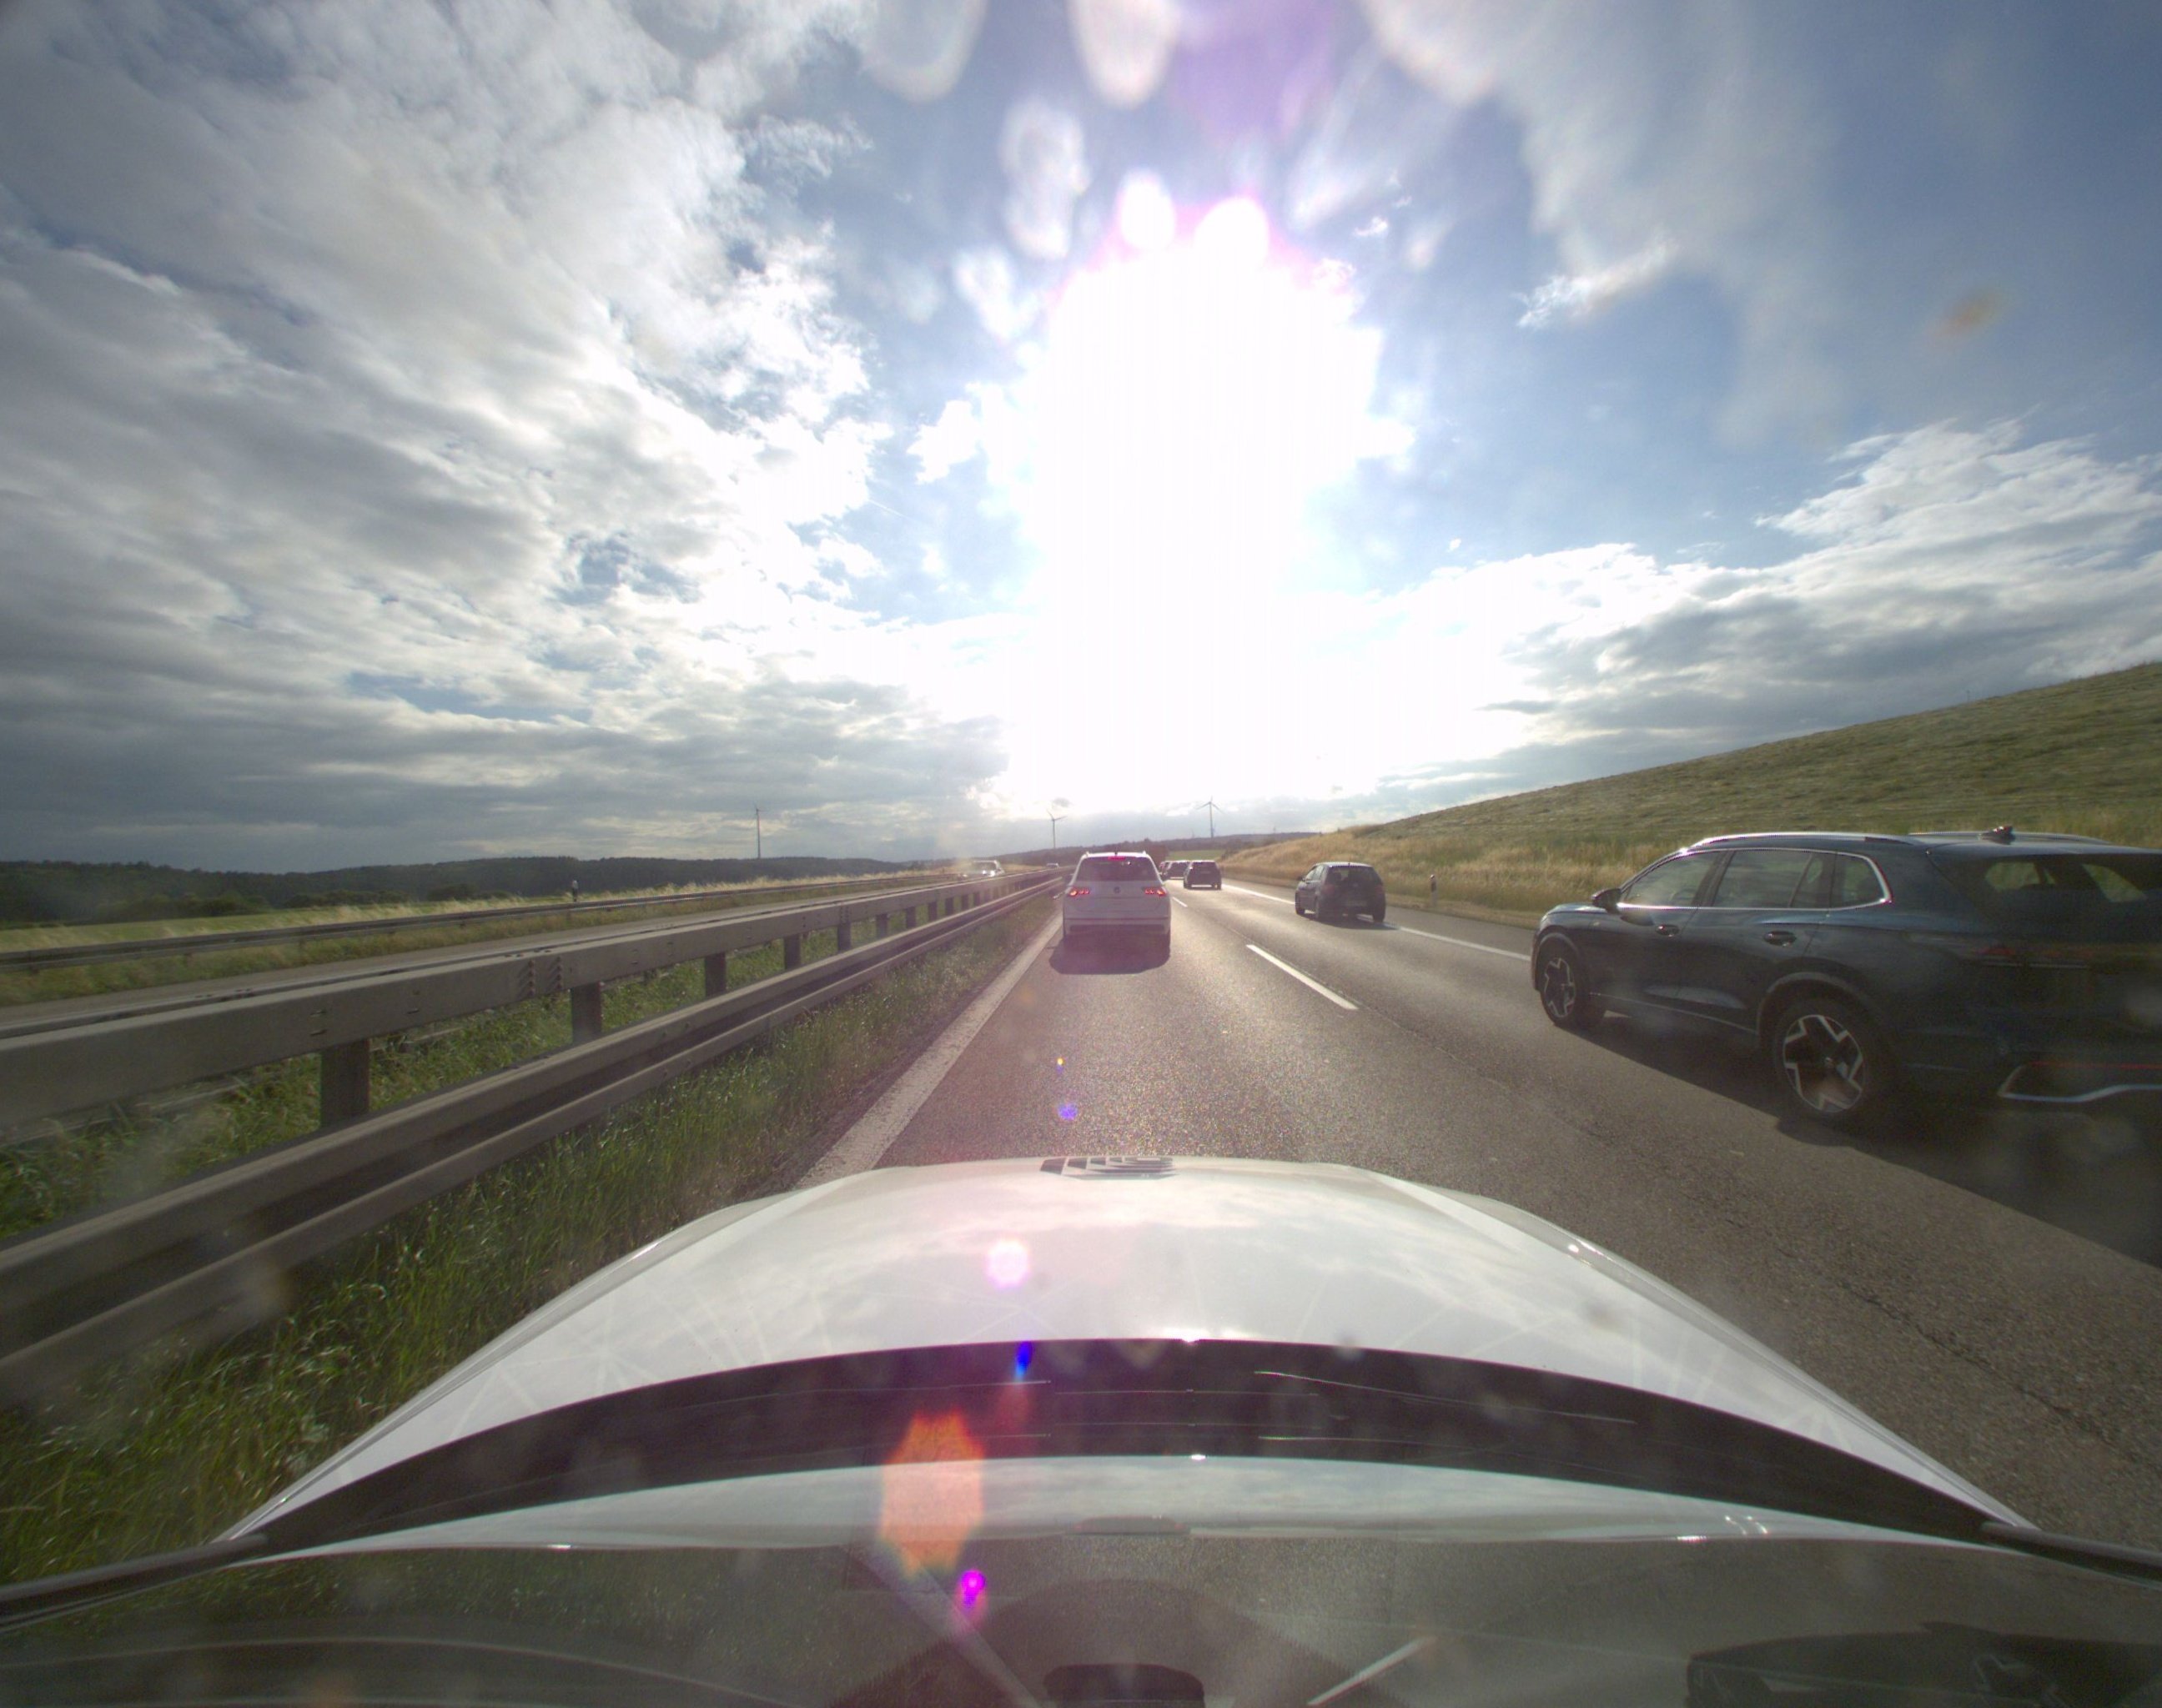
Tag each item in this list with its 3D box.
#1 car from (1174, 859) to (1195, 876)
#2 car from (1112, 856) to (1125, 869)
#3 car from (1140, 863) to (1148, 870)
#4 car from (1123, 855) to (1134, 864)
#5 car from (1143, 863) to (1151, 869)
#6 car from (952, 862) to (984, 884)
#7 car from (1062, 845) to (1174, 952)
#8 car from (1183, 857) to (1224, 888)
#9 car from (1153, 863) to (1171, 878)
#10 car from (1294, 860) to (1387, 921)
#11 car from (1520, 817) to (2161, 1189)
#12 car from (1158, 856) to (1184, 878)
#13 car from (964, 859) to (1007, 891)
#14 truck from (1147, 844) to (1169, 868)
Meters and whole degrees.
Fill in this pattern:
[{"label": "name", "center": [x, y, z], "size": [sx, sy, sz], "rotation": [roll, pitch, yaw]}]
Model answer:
[{"label": "car", "center": [9.815, 1.314, 77.444], "size": [1.697, 1.546, 4.002], "rotation": [-1, -1, 2]}, {"label": "car", "center": [4.959, 1.155, 108.476], "size": [1.697, 1.650, 4.002], "rotation": [-1, -1, 2]}, {"label": "car", "center": [14.550, 2.890, 188.050], "size": [1.697, 1.546, 4.002], "rotation": [-1, -1, 2]}, {"label": "car", "center": [8.098, 0.940, 138.561], "size": [1.697, 1.546, 4.002], "rotation": [-1, -1, 2]}, {"label": "car", "center": [17.492, 3.252, 215.933], "size": [1.697, 1.546, 4.002], "rotation": [-1, -1, 2]}, {"label": "car", "center": [-8.627, 1.416, 62.417], "size": [1.728, 1.588, 4.118], "rotation": [-1, -1, 2]}, {"label": "car", "center": [0.669, 0.736, 14.950], "size": [1.763, 1.676, 4.002], "rotation": [-1, -1, 2]}, {"label": "car", "center": [6.358, 0.952, 42.690], "size": [1.697, 1.546, 4.002], "rotation": [-1, -1, 2]}, {"label": "car", "center": [8.710, 1.785, 87.679], "size": [1.697, 1.546, 4.002], "rotation": [-1, -1, 2]}, {"label": "car", "center": [6.582, 0.884, 20.978], "size": [1.597, 1.420, 3.679], "rotation": [-1, -1, 7]}, {"label": "car", "center": [5.005, 0.677, 5.642], "size": [1.813, 1.601, 4.237], "rotation": [1, -1, 3]}, {"label": "car", "center": [7.036, 1.014, 63.850], "size": [1.697, 1.650, 4.002], "rotation": [-1, -1, 2]}, {"label": "car", "center": [-5.477, 1.183, 47.274], "size": [1.816, 1.770, 4.365], "rotation": [-1, -1, 2]}, {"label": "truck", "center": [12.073, 0.254, 129.028], "size": [3.170, 3.594, 11.142], "rotation": [-1, 0, 4]}]
